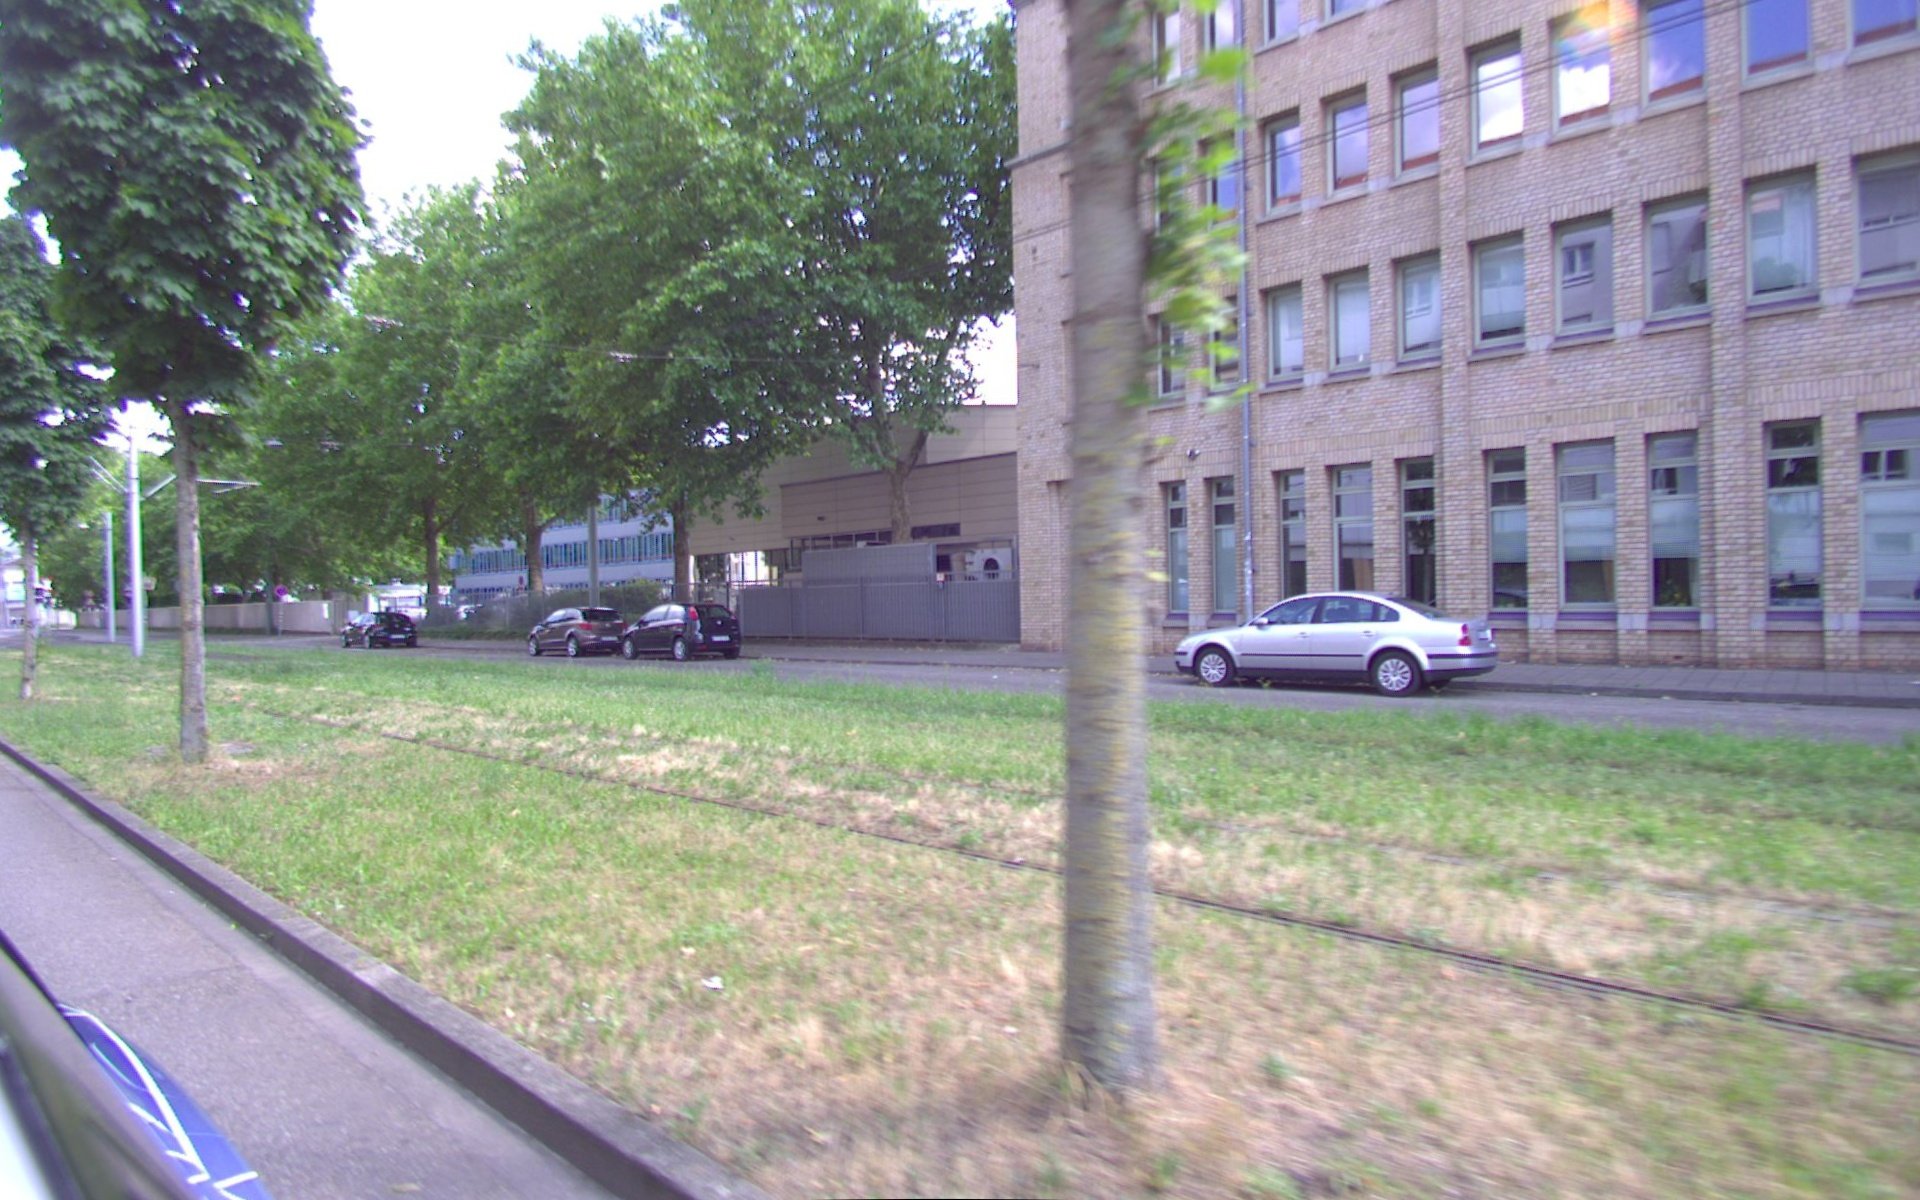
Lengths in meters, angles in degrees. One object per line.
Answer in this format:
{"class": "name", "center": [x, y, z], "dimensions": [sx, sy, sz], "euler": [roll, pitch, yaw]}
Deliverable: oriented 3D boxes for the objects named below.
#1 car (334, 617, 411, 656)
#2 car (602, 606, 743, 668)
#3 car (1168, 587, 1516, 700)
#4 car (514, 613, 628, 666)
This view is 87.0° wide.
{"class": "car", "center": [-23.593, 1.445, 40.601], "dimensions": [4.000, 1.475, 1.580], "euler": [-2, 0, 43]}
{"class": "car", "center": [-7.593, 0.940, 26.559], "dimensions": [4.001, 1.464, 1.782], "euler": [-2, 0, 44]}
{"class": "car", "center": [5.484, 0.584, 14.926], "dimensions": [4.484, 1.406, 1.697], "euler": [-2, 0, 43]}
{"class": "car", "center": [-11.664, 1.150, 30.226], "dimensions": [3.900, 1.436, 1.538], "euler": [-2, 0, 42]}
